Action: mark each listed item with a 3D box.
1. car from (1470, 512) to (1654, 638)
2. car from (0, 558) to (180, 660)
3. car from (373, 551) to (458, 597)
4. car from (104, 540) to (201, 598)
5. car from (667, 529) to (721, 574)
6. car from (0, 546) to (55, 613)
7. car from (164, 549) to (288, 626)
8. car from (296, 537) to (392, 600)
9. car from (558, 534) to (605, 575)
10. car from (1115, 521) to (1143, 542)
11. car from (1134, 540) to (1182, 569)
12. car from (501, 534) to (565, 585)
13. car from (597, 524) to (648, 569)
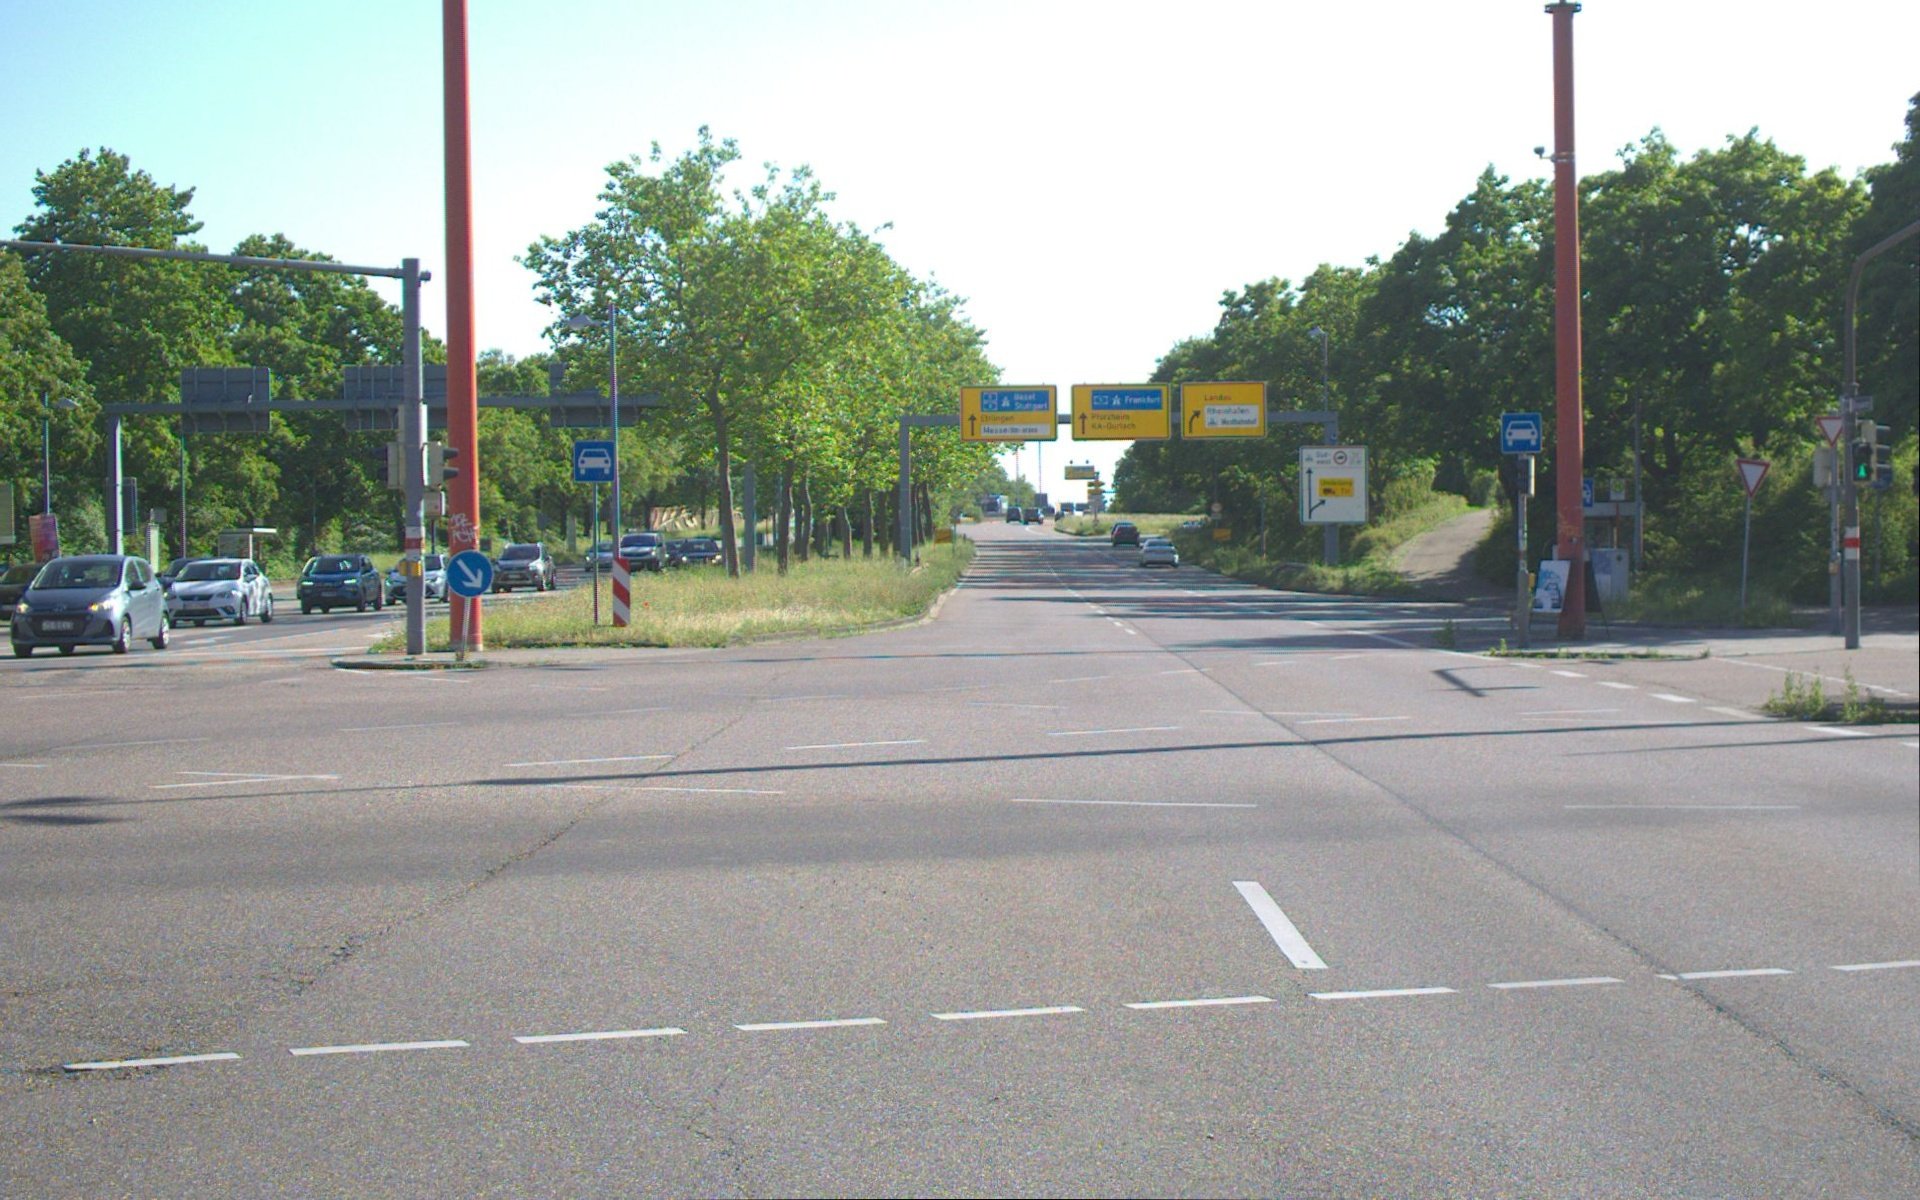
[{"bbox_3d":[9.463,-0.412,53.838,1.996,1.881,3.995,0,1,23],"label":"car"},{"bbox_3d":[-13.191,0.112,52.142,1.701,1.416,4.000,3,0,1],"label":"car"},{"bbox_3d":[-16.007,-0.789,101.263,2.003,1.303,4.000,0,1,-2],"label":"car"},{"bbox_3d":[-20.677,-0.802,88.147,1.628,1.445,3.434,1,1,1],"label":"car"},{"bbox_3d":[-10.438,-1.893,135.164,1.657,1.741,4.000,1,1,2],"label":"car"},{"bbox_3d":[-23.792,-0.524,85.110,1.993,1.633,4.001,0,1,-5],"label":"car"},{"bbox_3d":[-15.848,-0.280,74.395,1.704,1.590,4.000,1,1,2],"label":"car"},{"bbox_3d":[-15.870,-0.813,88.730,1.704,1.553,3.803,1,1,2],"label":"car"},{"bbox_3d":[-18.929,-2.291,172.077,2.003,2.007,4.000,1,1,-2],"label":"car"},{"bbox_3d":[11.247,-4.563,228.881,1.738,1.337,3.081,0,1,1],"label":"car"},{"bbox_3d":[9.774,-2.259,169.697,2.054,1.366,4.392,0,1,-1],"label":"car"},{"bbox_3d":[-14.859,-1.431,119.749,1.625,1.733,4.000,0,1,1],"label":"car"},{"bbox_3d":[-15.165,-2.394,154.654,2.003,2.007,4.000,1,1,-2],"label":"car"}]
